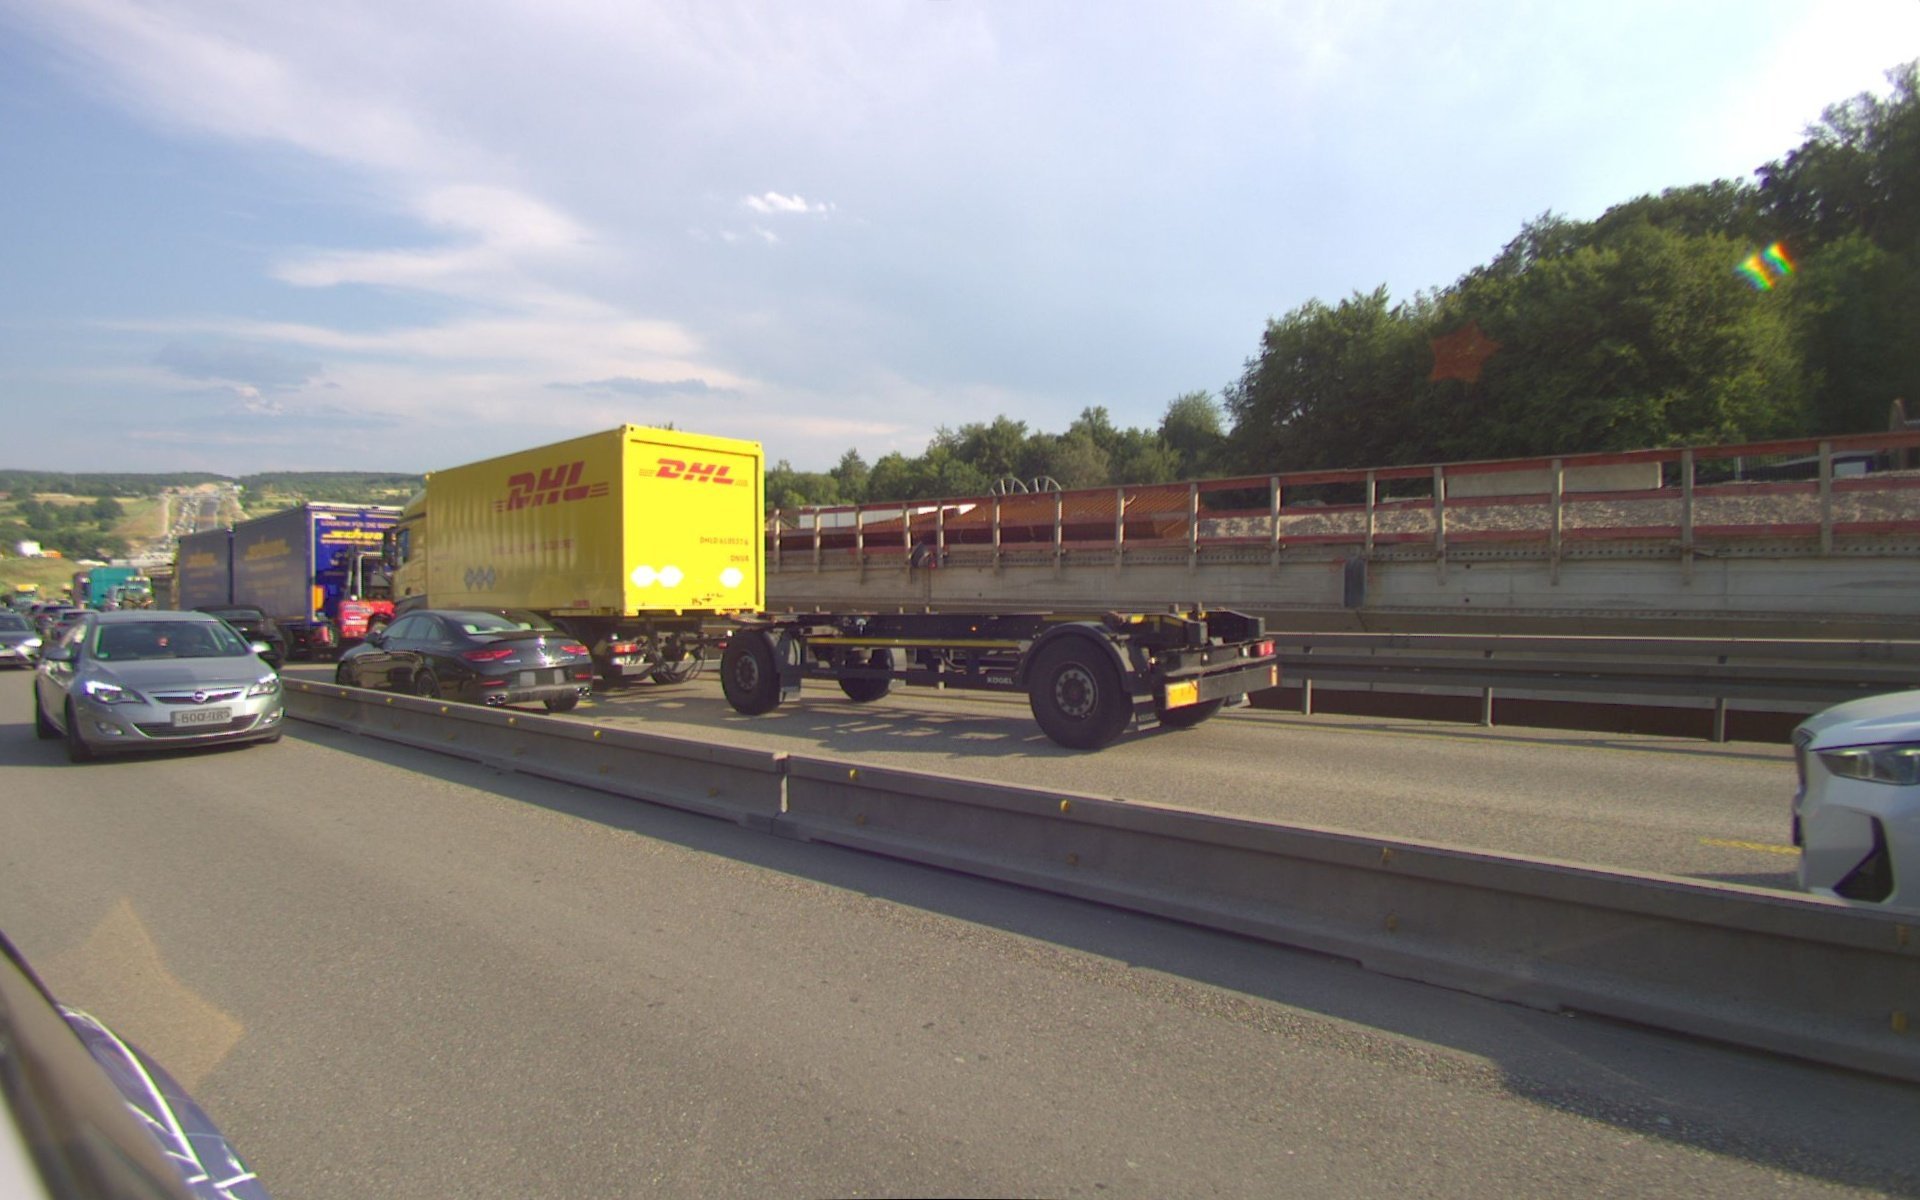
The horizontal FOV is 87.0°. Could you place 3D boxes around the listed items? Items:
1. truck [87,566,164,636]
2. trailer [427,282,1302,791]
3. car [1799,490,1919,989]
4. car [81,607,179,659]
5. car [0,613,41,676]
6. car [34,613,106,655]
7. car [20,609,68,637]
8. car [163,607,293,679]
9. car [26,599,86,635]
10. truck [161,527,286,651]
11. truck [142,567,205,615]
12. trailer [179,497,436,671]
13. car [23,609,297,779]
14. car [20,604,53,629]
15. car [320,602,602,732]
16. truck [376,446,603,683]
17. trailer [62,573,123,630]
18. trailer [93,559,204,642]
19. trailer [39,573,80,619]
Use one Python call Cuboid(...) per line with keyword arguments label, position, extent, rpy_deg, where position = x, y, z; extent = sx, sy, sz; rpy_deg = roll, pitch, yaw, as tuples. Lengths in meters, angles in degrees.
Cuboid(label="truck", position=(-48.772, 0.089, 59.084), extent=(7.115, 3.834, 2.717), rpy_deg=(0, -1, 45))
Cuboid(label="trailer", position=(-3.291, -0.583, 14.793), extent=(15.995, 4.235, 2.672), rpy_deg=(1, 0, 42))
Cuboid(label="car", position=(5.268, 0.480, 2.758), extent=(4.558, 1.660, 1.826), rpy_deg=(0, -1, 42))
Cuboid(label="car", position=(-26.420, 0.995, 32.167), extent=(4.615, 1.464, 1.778), rpy_deg=(1, 0, 43))
Cuboid(label="car", position=(-24.225, 1.089, 25.247), extent=(1.797, 1.452, 4.004), rpy_deg=(-2, 1, -43))
Cuboid(label="car", position=(-35.757, 1.299, 40.635), extent=(4.725, 1.509, 1.768), rpy_deg=(1, 0, 44))
Cuboid(label="car", position=(-58.128, 1.424, 64.177), extent=(4.849, 1.657, 1.937), rpy_deg=(1, 0, 44))
Cuboid(label="car", position=(-17.435, 0.950, 24.030), extent=(4.292, 1.519, 1.698), rpy_deg=(1, 0, 43))
Cuboid(label="car", position=(-45.520, 0.802, 50.922), extent=(4.692, 1.714, 1.905), rpy_deg=(1, 0, 44))
Cuboid(label="truck", position=(-27.067, -0.379, 37.107), extent=(5.795, 4.172, 2.671), rpy_deg=(1, 0, 43))
Cuboid(label="truck", position=(-72.030, -0.759, 92.556), extent=(3.122, 4.154, 12.501), rpy_deg=(2, -1, -44))
Cuboid(label="trailer", position=(-20.552, -0.436, 30.937), extent=(16.755, 4.166, 2.685), rpy_deg=(1, 0, 43))
Cuboid(label="car", position=(-8.883, 0.855, 11.111), extent=(4.119, 1.498, 1.786), rpy_deg=(0, 0, 43))
Cuboid(label="car", position=(-78.989, 1.380, 86.553), extent=(1.802, 1.948, 5.133), rpy_deg=(4, -2, -45))
Cuboid(label="car", position=(-6.859, 0.758, 13.640), extent=(4.902, 1.412, 1.721), rpy_deg=(1, 0, 42))
Cuboid(label="truck", position=(-9.594, -0.642, 20.525), extent=(4.397, 4.228, 2.665), rpy_deg=(0, 0, 42))
Cuboid(label="trailer", position=(-67.542, 0.132, 78.679), extent=(2.683, 4.154, 12.501), rpy_deg=(2, -1, -44))
Cuboid(label="trailer", position=(-43.010, 0.070, 53.320), extent=(16.055, 3.845, 2.717), rpy_deg=(0, -1, 45))
Cuboid(label="trailer", position=(-90.796, -0.408, 102.014), extent=(2.877, 4.499, 7.160), rpy_deg=(-1, 1, -43))
